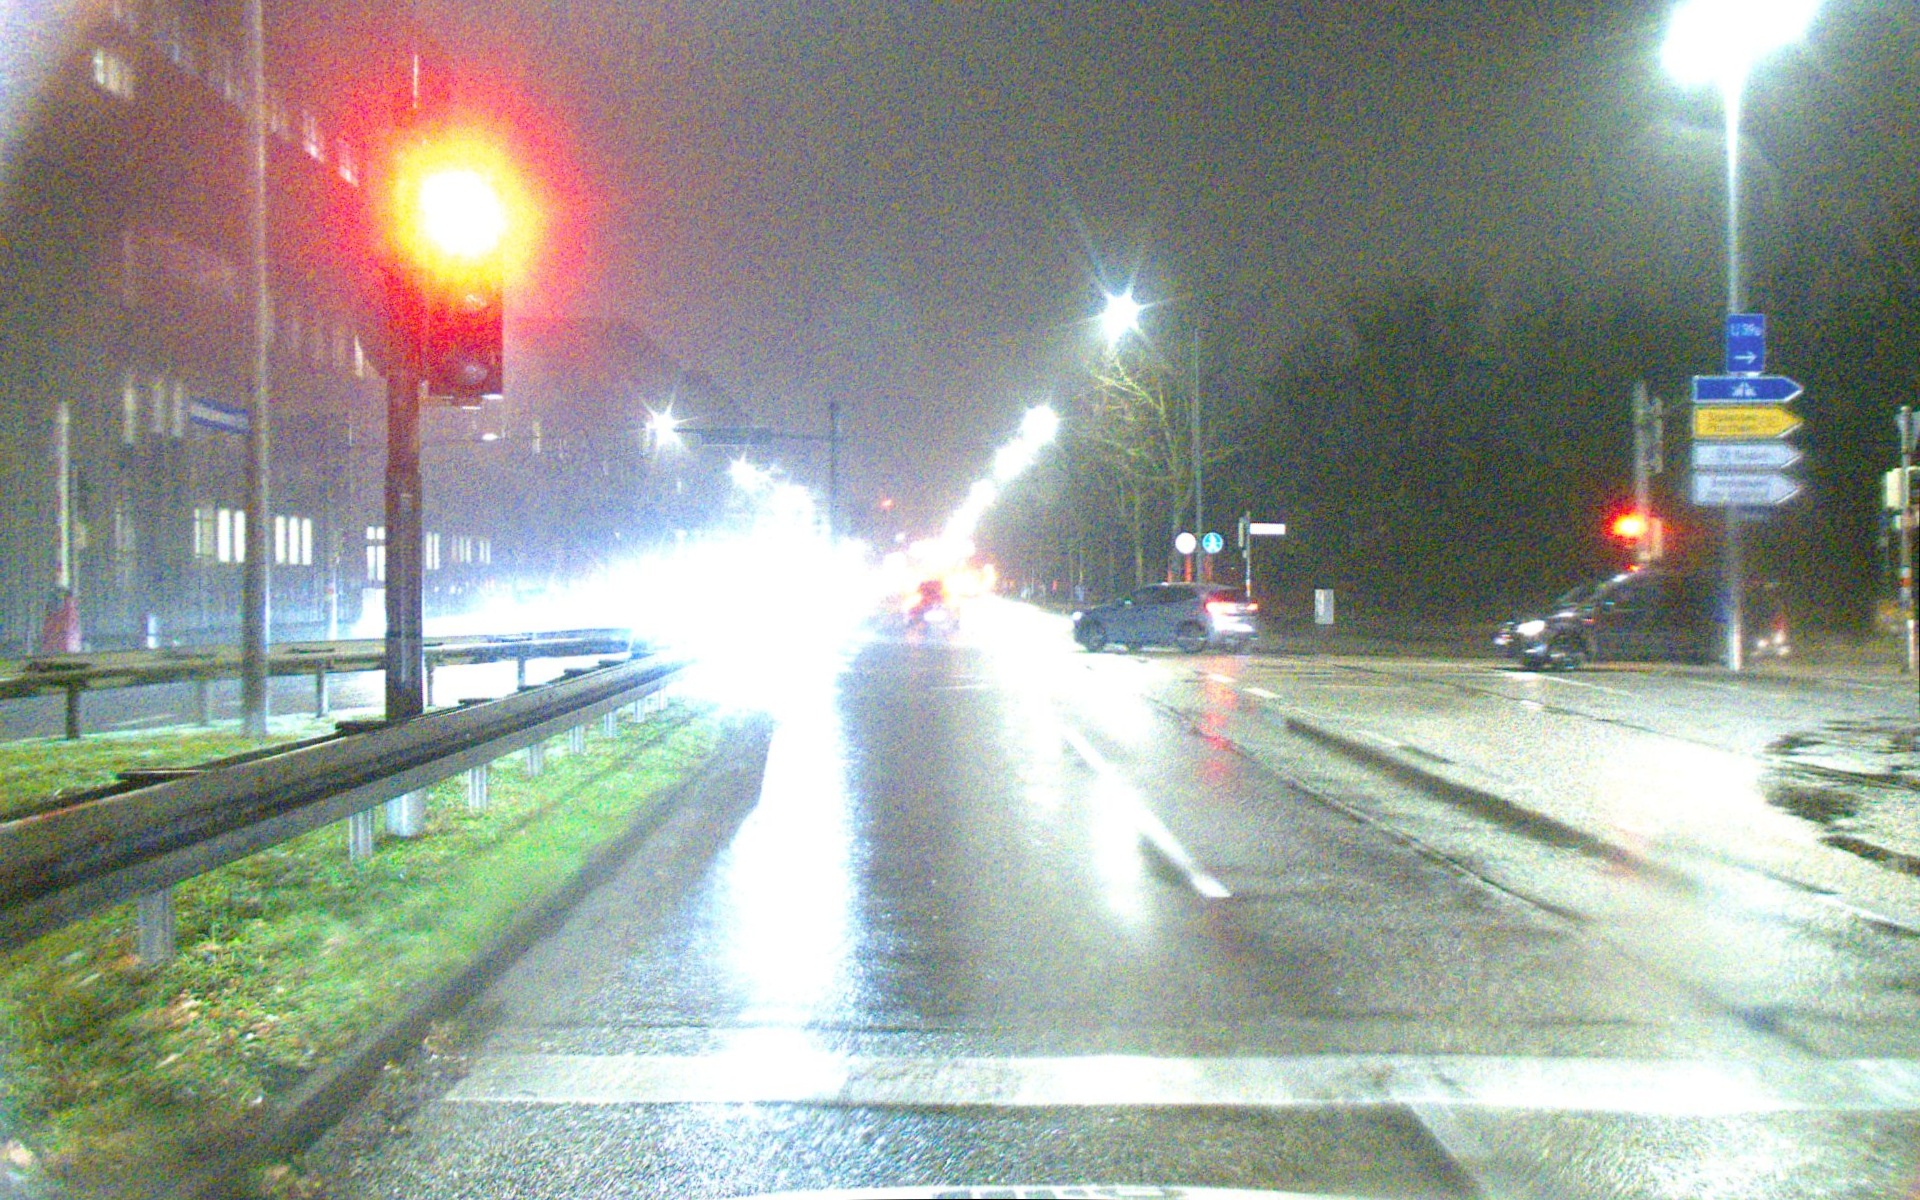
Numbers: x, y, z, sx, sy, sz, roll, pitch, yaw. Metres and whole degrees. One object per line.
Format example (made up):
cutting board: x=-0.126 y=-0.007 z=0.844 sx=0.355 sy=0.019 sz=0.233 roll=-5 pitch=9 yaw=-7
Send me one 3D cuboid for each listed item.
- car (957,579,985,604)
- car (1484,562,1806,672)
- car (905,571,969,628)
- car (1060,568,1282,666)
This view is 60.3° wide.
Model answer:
car: x=0.800 y=-0.606 z=120.530 sx=1.953 sy=1.790 sz=3.999 roll=1 pitch=0 yaw=-1
car: x=11.858 y=0.284 z=28.890 sx=4.799 sy=1.771 sz=1.972 roll=1 pitch=0 yaw=4
car: x=-0.731 y=0.004 z=53.723 sx=1.953 sy=1.735 sz=4.632 roll=1 pitch=0 yaw=-1
car: x=4.648 y=0.351 z=36.766 sx=4.546 sy=2.049 sz=1.990 roll=1 pitch=0 yaw=40
